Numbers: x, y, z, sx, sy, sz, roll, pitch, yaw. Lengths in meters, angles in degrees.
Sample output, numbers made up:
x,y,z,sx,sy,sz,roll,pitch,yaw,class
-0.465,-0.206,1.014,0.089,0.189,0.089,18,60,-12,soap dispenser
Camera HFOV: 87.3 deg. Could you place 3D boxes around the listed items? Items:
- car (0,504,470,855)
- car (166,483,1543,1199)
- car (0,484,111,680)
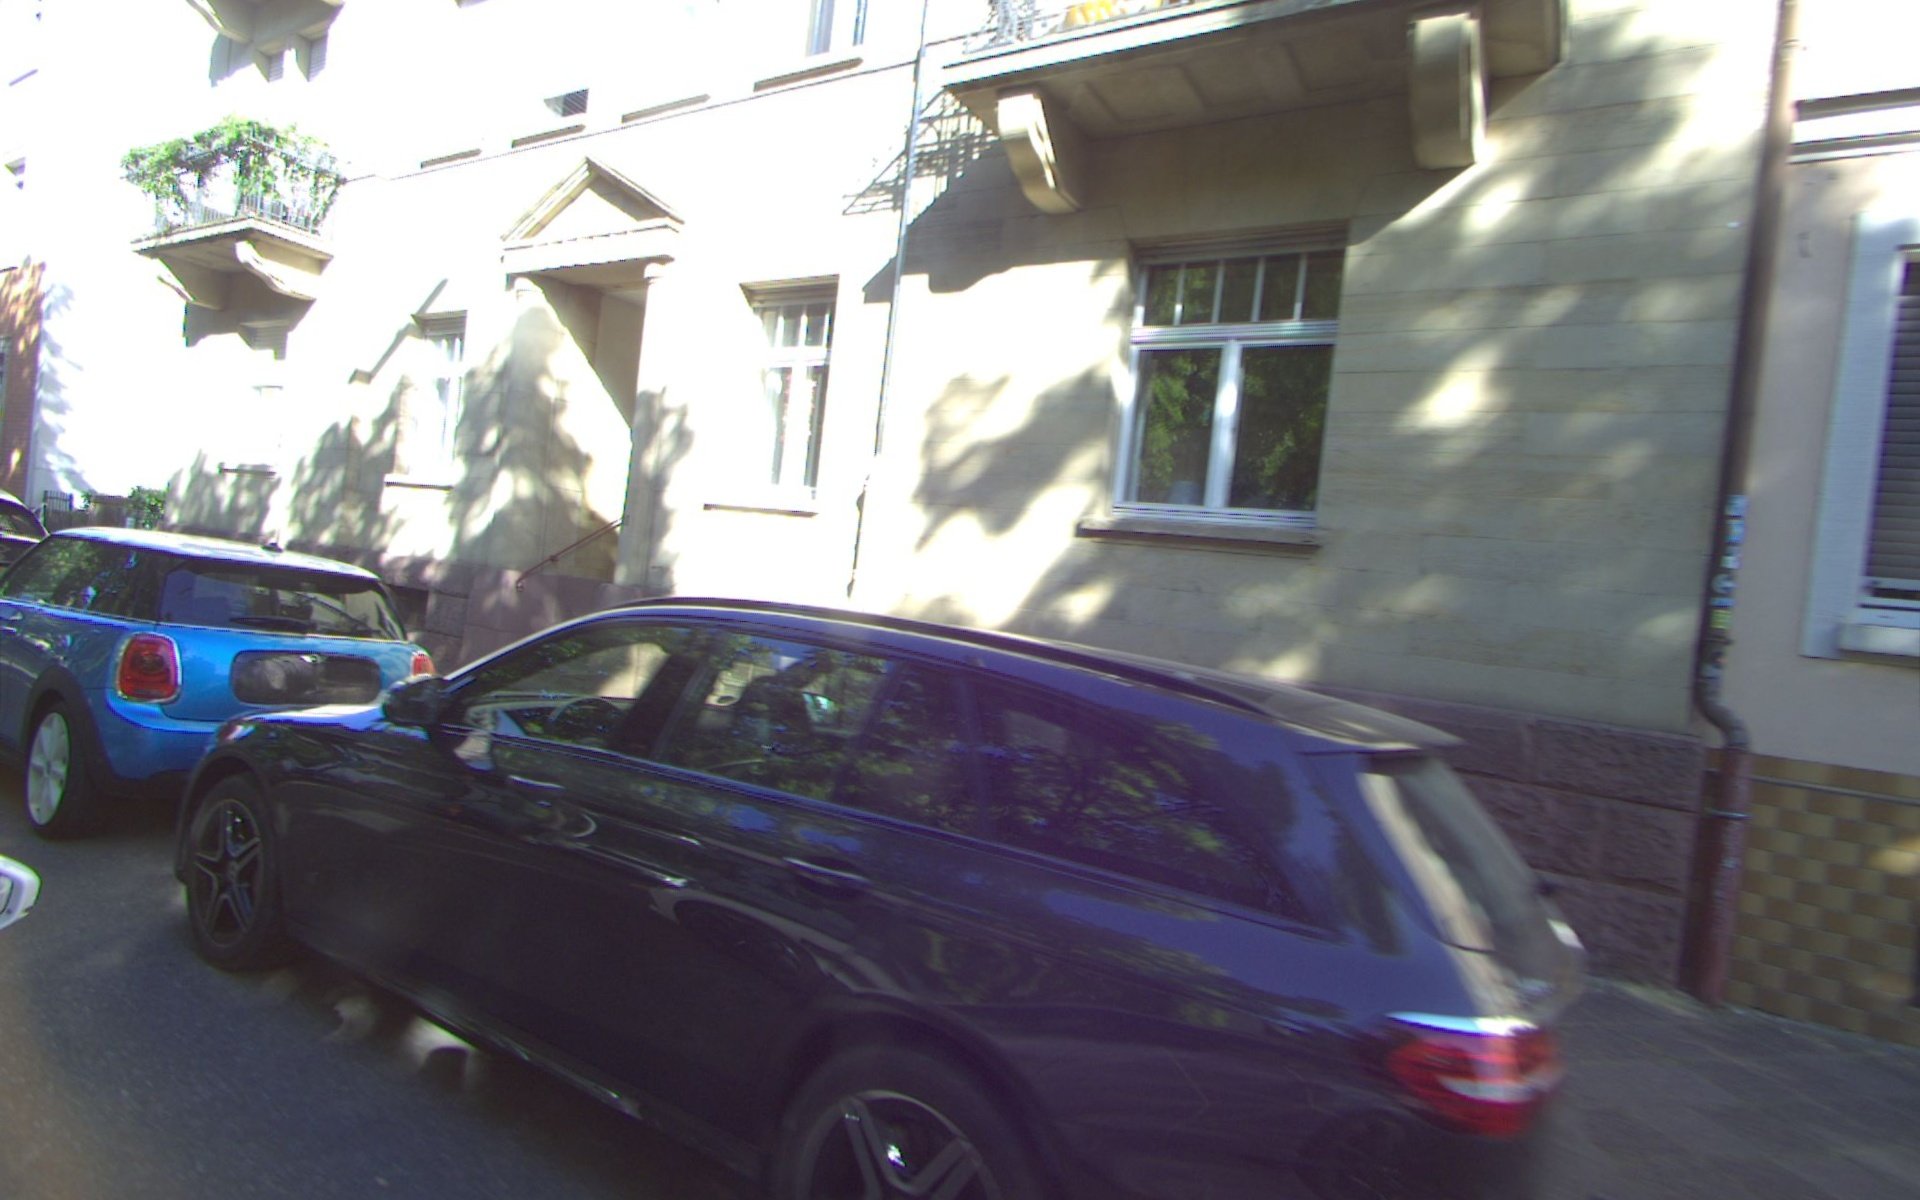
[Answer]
x,y,z,sx,sy,sz,roll,pitch,yaw,class
-4.725,0.296,5.897,3.573,1.431,1.593,6,-3,33,car
-0.642,0.618,3.340,4.251,1.583,1.806,6,0,34,car
-10.358,-0.406,9.616,4.415,1.662,1.869,6,-3,30,car
